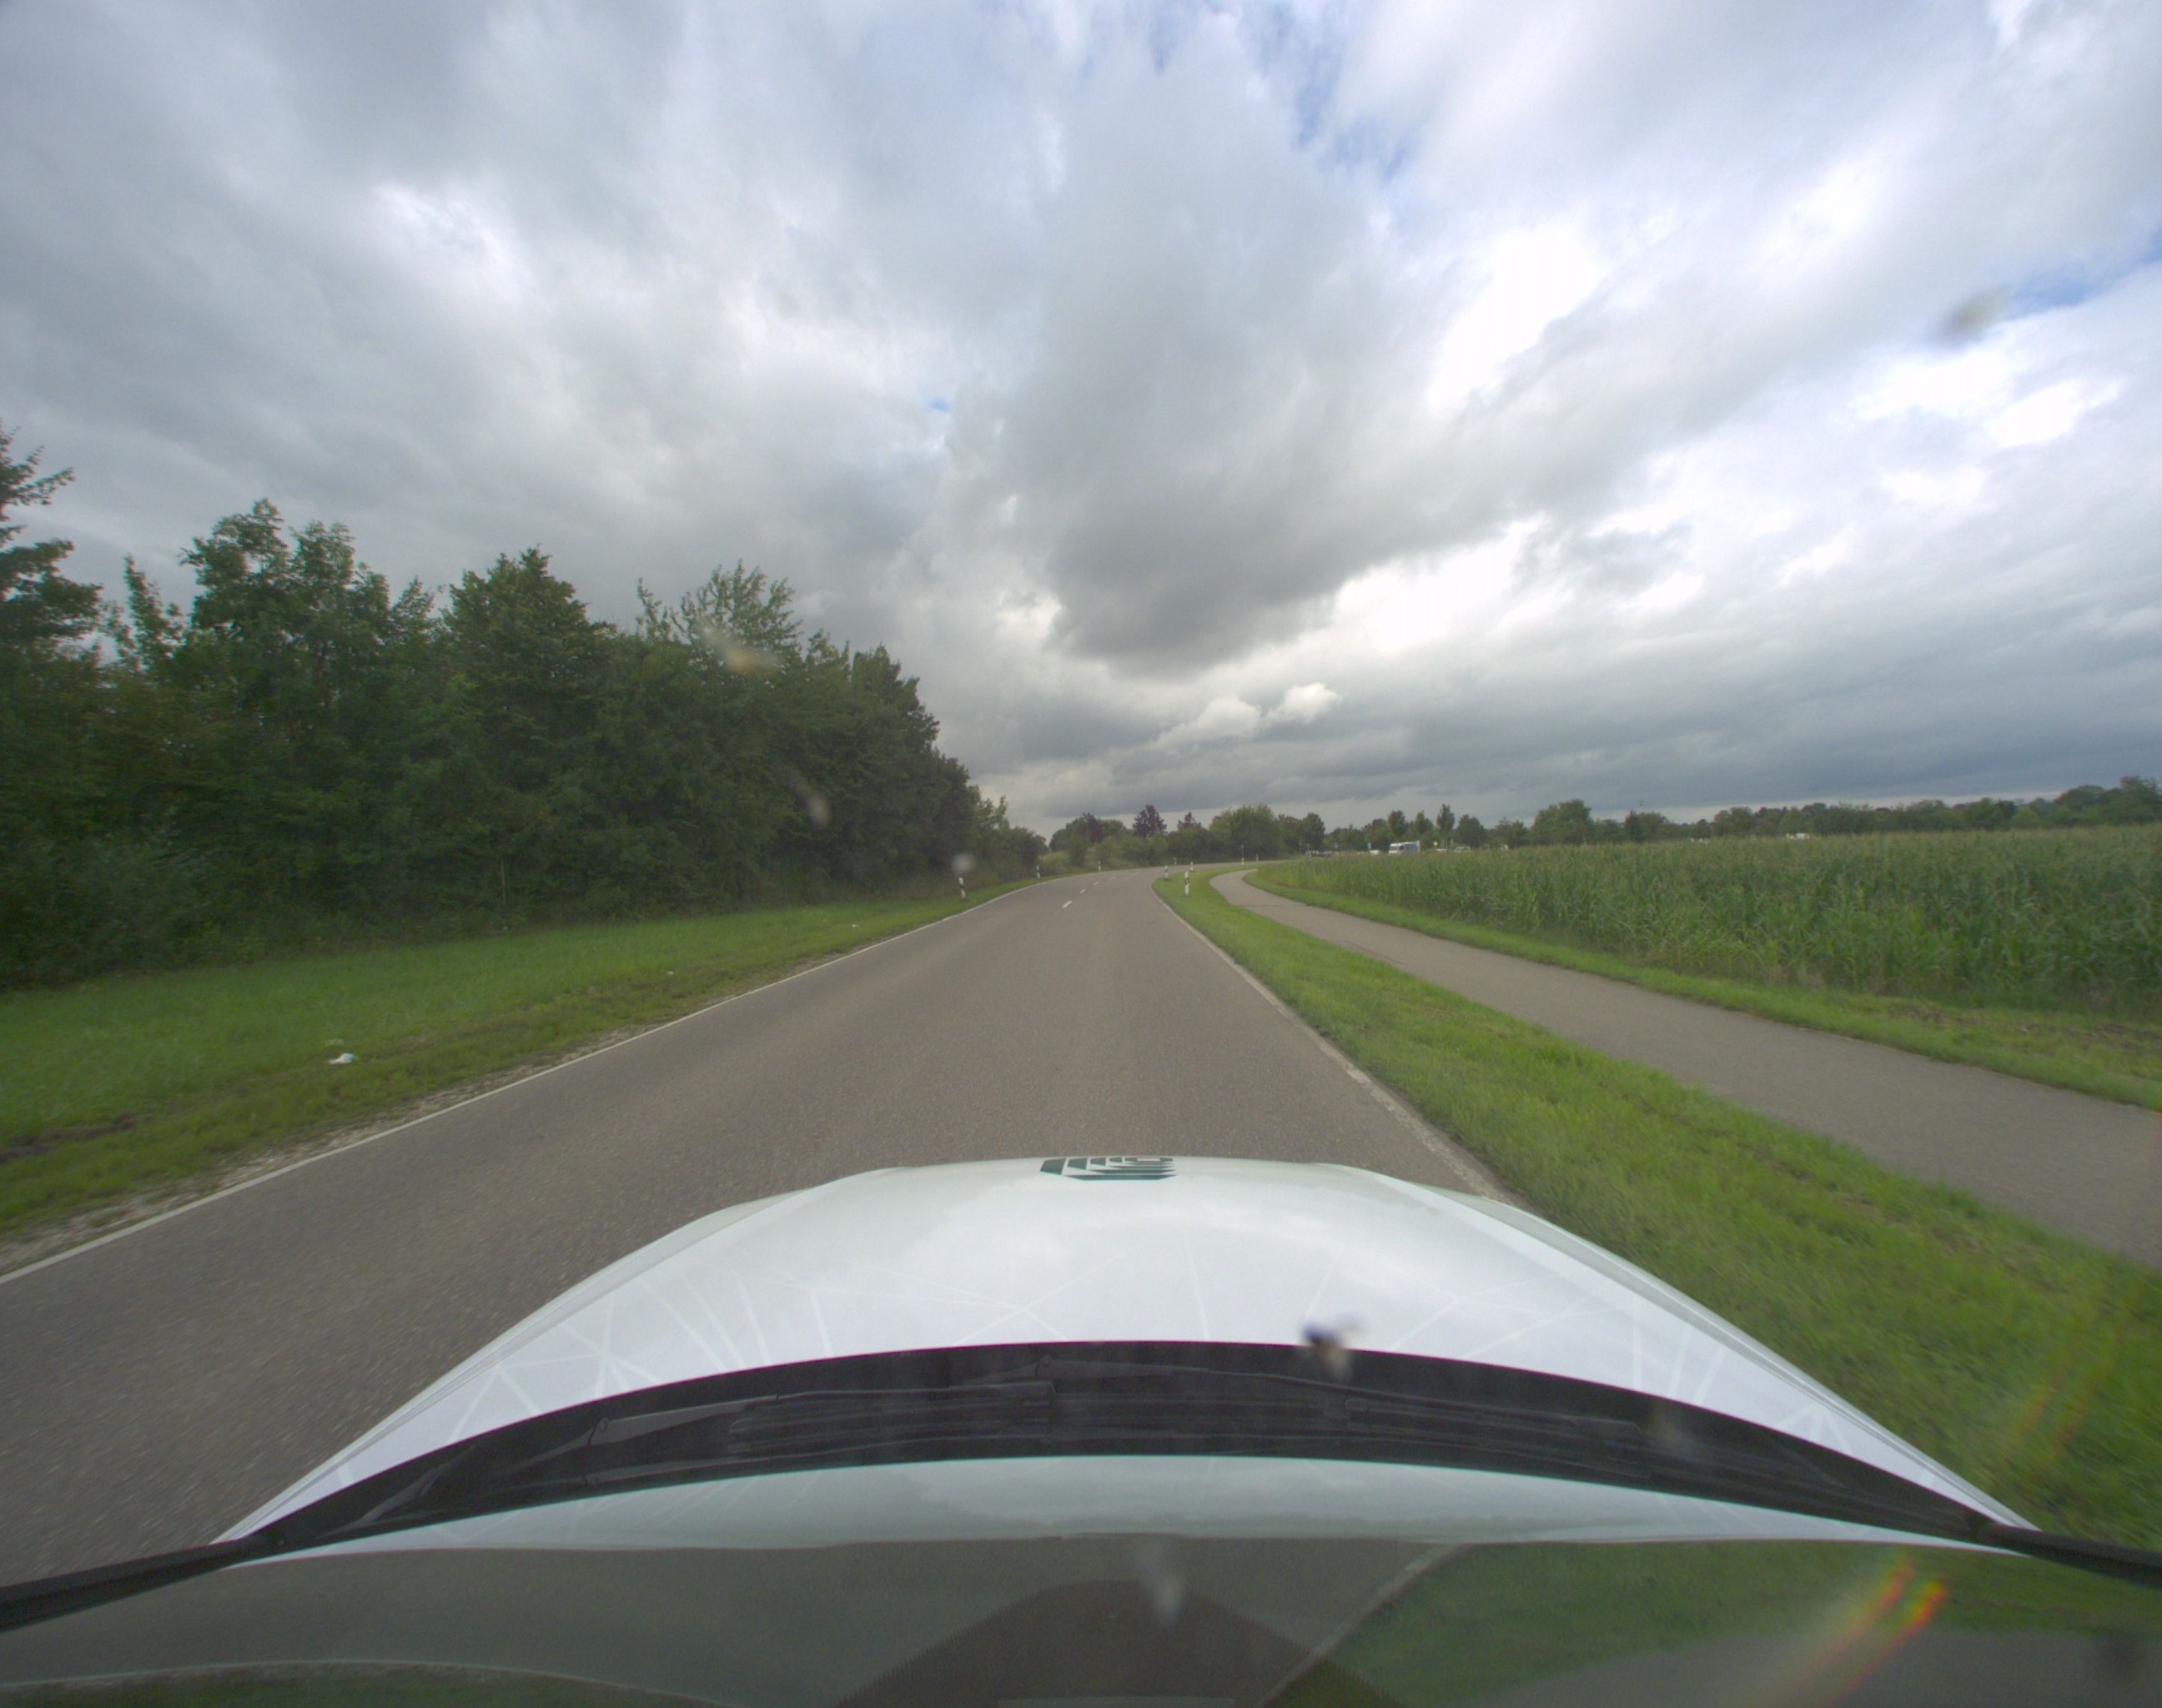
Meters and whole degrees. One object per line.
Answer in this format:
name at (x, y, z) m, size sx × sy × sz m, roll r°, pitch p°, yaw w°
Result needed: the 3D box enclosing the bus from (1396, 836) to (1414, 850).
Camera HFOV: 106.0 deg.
bus at (65.080, -2.241, 163.364) m, size 2.452 × 2.711 × 8.481 m, roll -1°, pitch 0°, yaw 28°
